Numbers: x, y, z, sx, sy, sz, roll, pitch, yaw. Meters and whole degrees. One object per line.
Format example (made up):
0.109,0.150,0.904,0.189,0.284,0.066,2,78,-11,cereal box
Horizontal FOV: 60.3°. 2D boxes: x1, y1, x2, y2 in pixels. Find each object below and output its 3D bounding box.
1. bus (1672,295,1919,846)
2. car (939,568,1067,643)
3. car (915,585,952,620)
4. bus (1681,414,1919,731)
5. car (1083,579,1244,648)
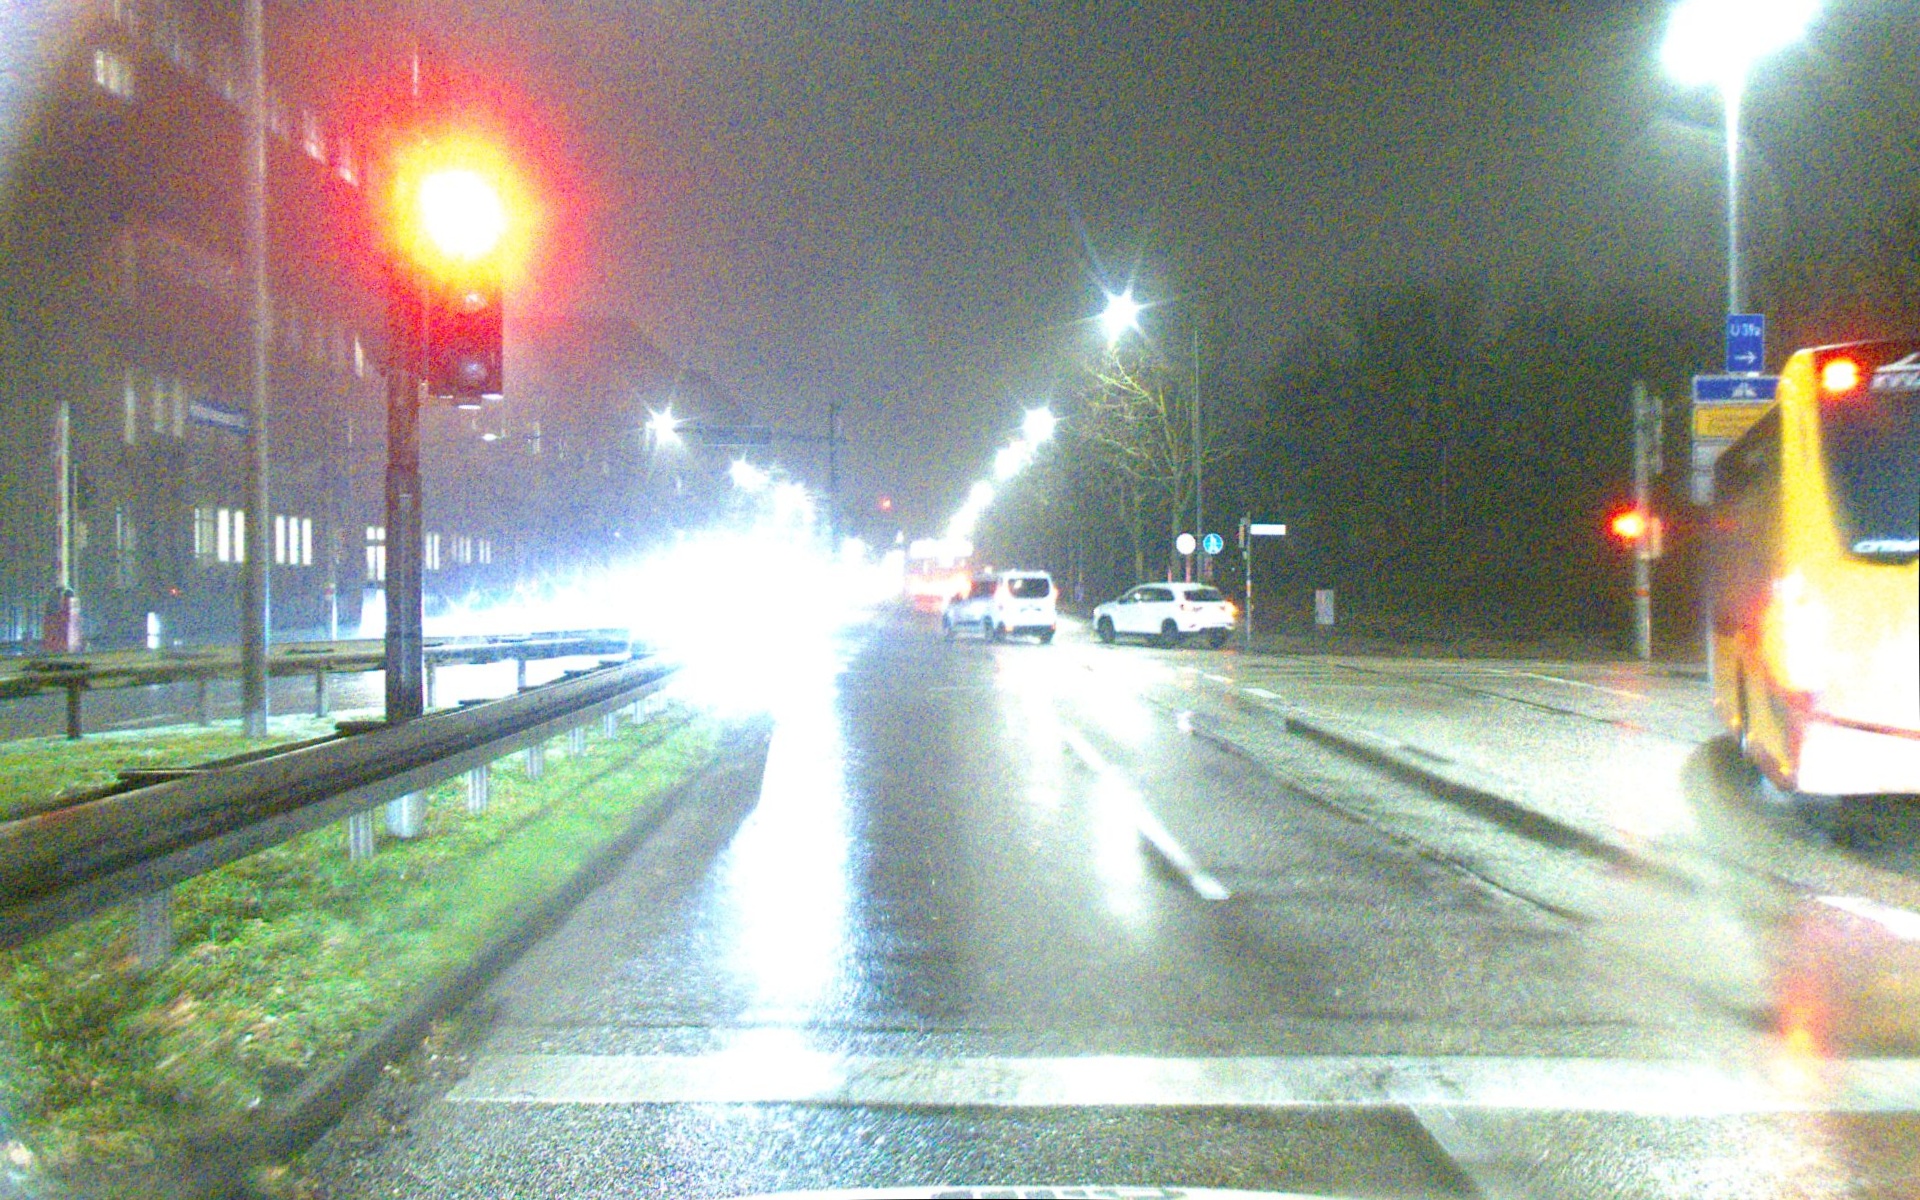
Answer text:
7.845,-0.168,13.903,2.711,3.178,9.765,1,0,19,bus
1.104,0.153,44.785,1.766,1.907,4.596,1,0,-22,car
-1.718,0.165,106.670,2.093,2.182,4.924,1,0,-4,car
12.950,-0.255,20.345,9.642,3.178,2.746,1,0,-34,bus
5.269,0.327,43.316,1.775,1.708,4.376,1,0,-34,car
